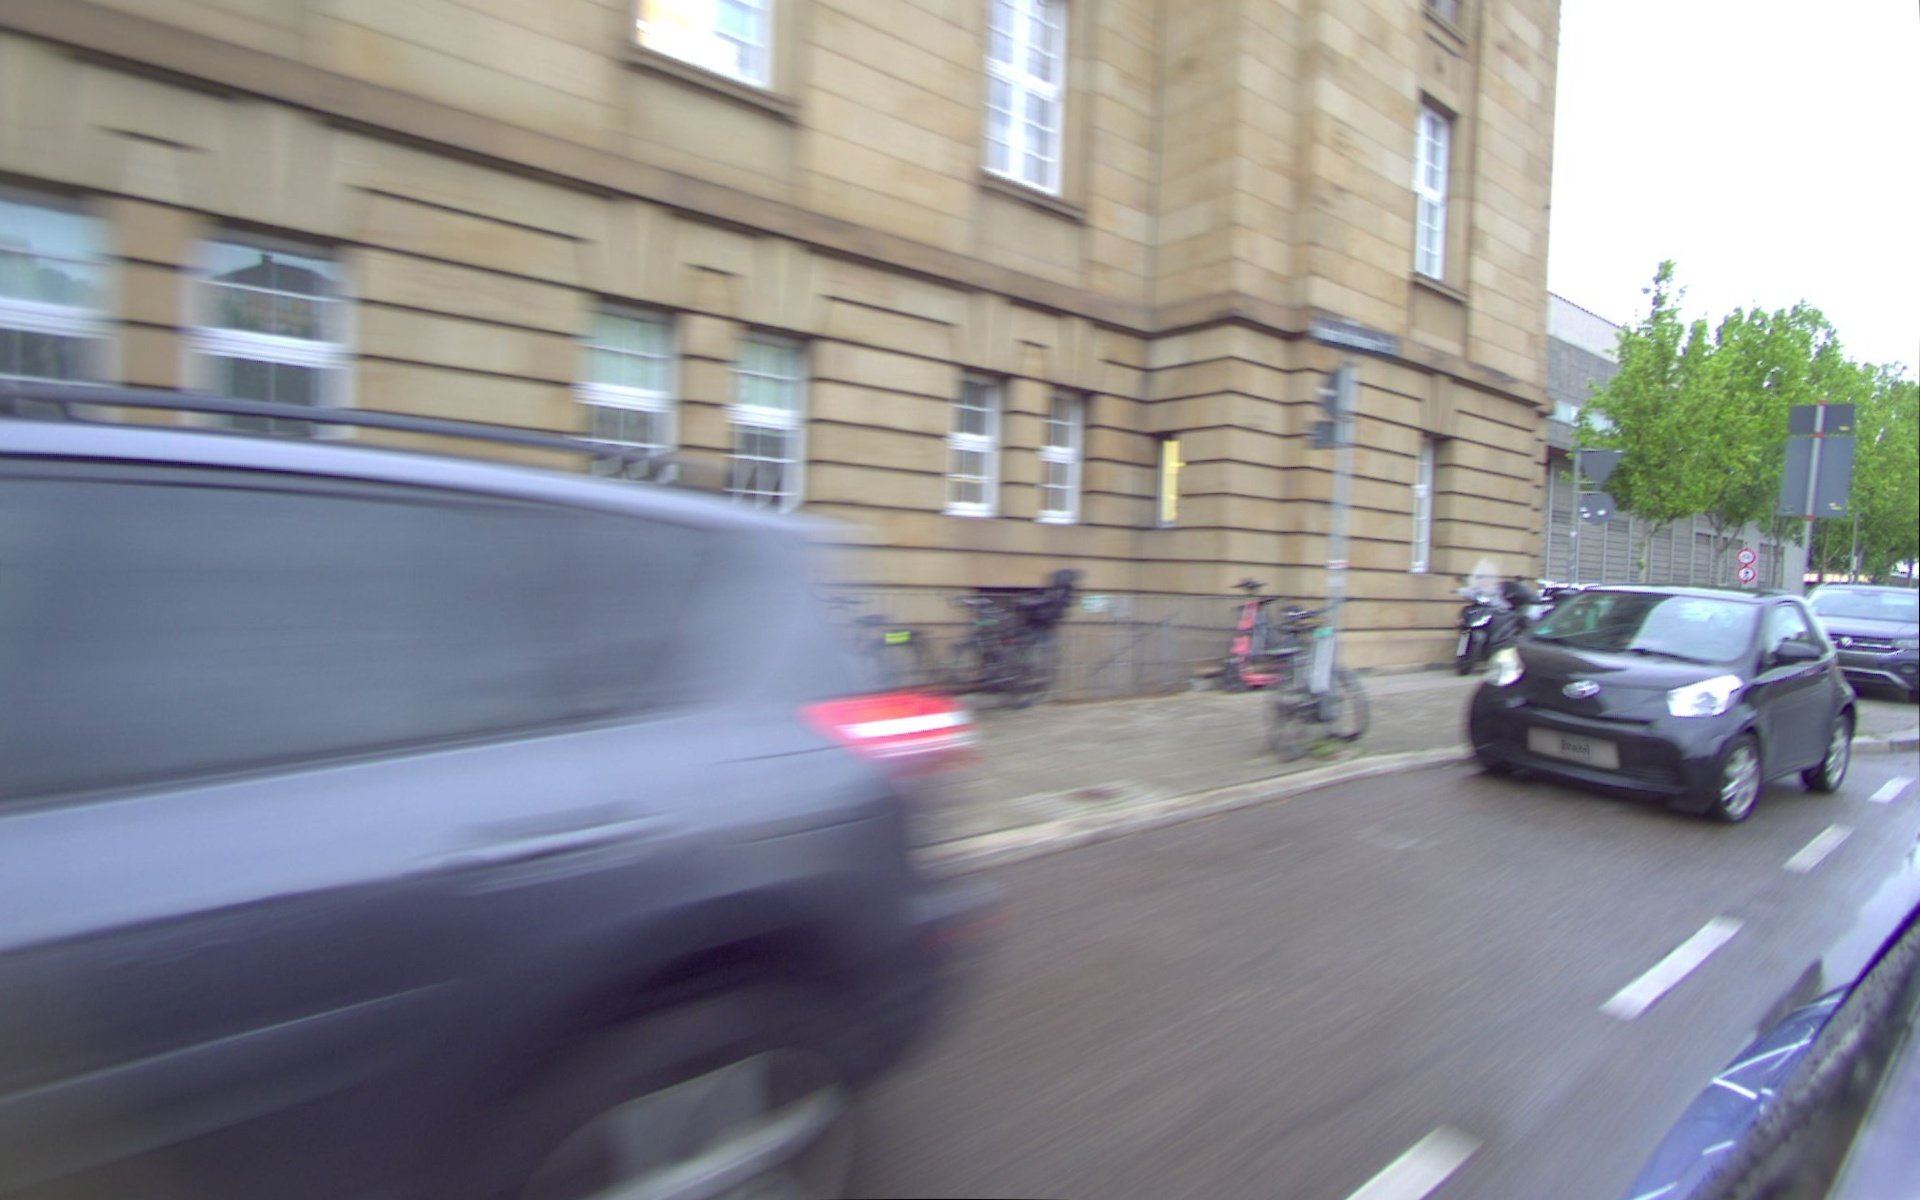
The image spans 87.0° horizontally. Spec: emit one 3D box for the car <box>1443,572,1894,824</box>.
[{"bbox_3d":[5.303,0.537,7.532,3.092,1.431,1.765,-1,3,-35],"label":"car"}]

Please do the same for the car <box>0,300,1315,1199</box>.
[{"bbox_3d":[-1.428,0.581,1.848,4.112,1.803,1.999,-1,2,-38],"label":"car"}]

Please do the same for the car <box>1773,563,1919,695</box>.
[{"bbox_3d":[13.596,0.357,14.775,4.327,1.639,1.875,0,3,-41],"label":"car"}]

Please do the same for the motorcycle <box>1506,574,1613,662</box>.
[{"bbox_3d":[9.516,0.250,16.038,1.765,1.314,0.809,-1,2,-36],"label":"motorcycle"}]

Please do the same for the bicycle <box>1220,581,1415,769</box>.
[{"bbox_3d":[2.832,0.492,7.885,0.775,1.233,1.938,4,4,39],"label":"bicycle"}]

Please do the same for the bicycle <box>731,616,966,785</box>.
[{"bbox_3d":[-0.809,0.690,7.691,1.712,1.064,0.712,-1,2,-45],"label":"bicycle"}]

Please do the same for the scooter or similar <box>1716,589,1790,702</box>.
[{"bbox_3d":[9.303,0.503,11.860,1.103,1.231,0.434,-1,5,-43],"label":"scooter or similar"}]

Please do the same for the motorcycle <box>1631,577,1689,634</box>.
[{"bbox_3d":[25.963,0.182,37.515,2.545,1.930,0.749,-1,-12,-41],"label":"motorcycle"}]

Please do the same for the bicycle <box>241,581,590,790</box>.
[{"bbox_3d":[-3.122,0.421,5.889,1.726,1.050,0.585,-1,2,-36],"label":"bicycle"}]

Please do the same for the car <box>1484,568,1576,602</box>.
[{"bbox_3d":[30.220,-0.845,53.688,1.747,1.598,3.847,-1,4,-40],"label":"car"}]

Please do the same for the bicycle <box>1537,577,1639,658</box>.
[{"bbox_3d":[11.132,0.270,17.917,1.828,1.333,1.103,-1,2,-44],"label":"bicycle"}]

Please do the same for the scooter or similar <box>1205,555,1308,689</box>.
[{"bbox_3d":[3.376,0.225,11.496,1.244,1.434,0.414,-1,3,-36],"label":"scooter or similar"}]

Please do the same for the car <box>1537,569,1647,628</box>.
[{"bbox_3d":[24.130,-0.013,38.627,4.404,1.706,1.960,7,-7,-34],"label":"car"}]

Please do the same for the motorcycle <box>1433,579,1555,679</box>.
[{"bbox_3d":[7.679,0.371,14.512,2.095,1.342,0.669,-1,2,-36],"label":"motorcycle"}]

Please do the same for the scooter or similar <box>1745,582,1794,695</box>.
[{"bbox_3d":[10.025,0.449,12.530,0.433,1.336,1.062,2,1,39],"label":"scooter or similar"}]

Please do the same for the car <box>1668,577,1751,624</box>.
[{"bbox_3d":[26.846,-0.010,36.239,2.966,1.556,1.586,-1,4,-38],"label":"car"}]

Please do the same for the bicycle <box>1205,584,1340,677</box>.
[{"bbox_3d":[3.792,0.348,12.236,1.735,1.062,0.420,0,2,-27],"label":"bicycle"}]

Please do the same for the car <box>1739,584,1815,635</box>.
[{"bbox_3d":[27.069,0.265,33.498,1.687,1.512,3.566,2,3,43],"label":"car"}]

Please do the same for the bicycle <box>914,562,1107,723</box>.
[{"bbox_3d":[0.483,0.318,9.045,1.730,1.284,0.731,-1,3,-45],"label":"bicycle"}]
